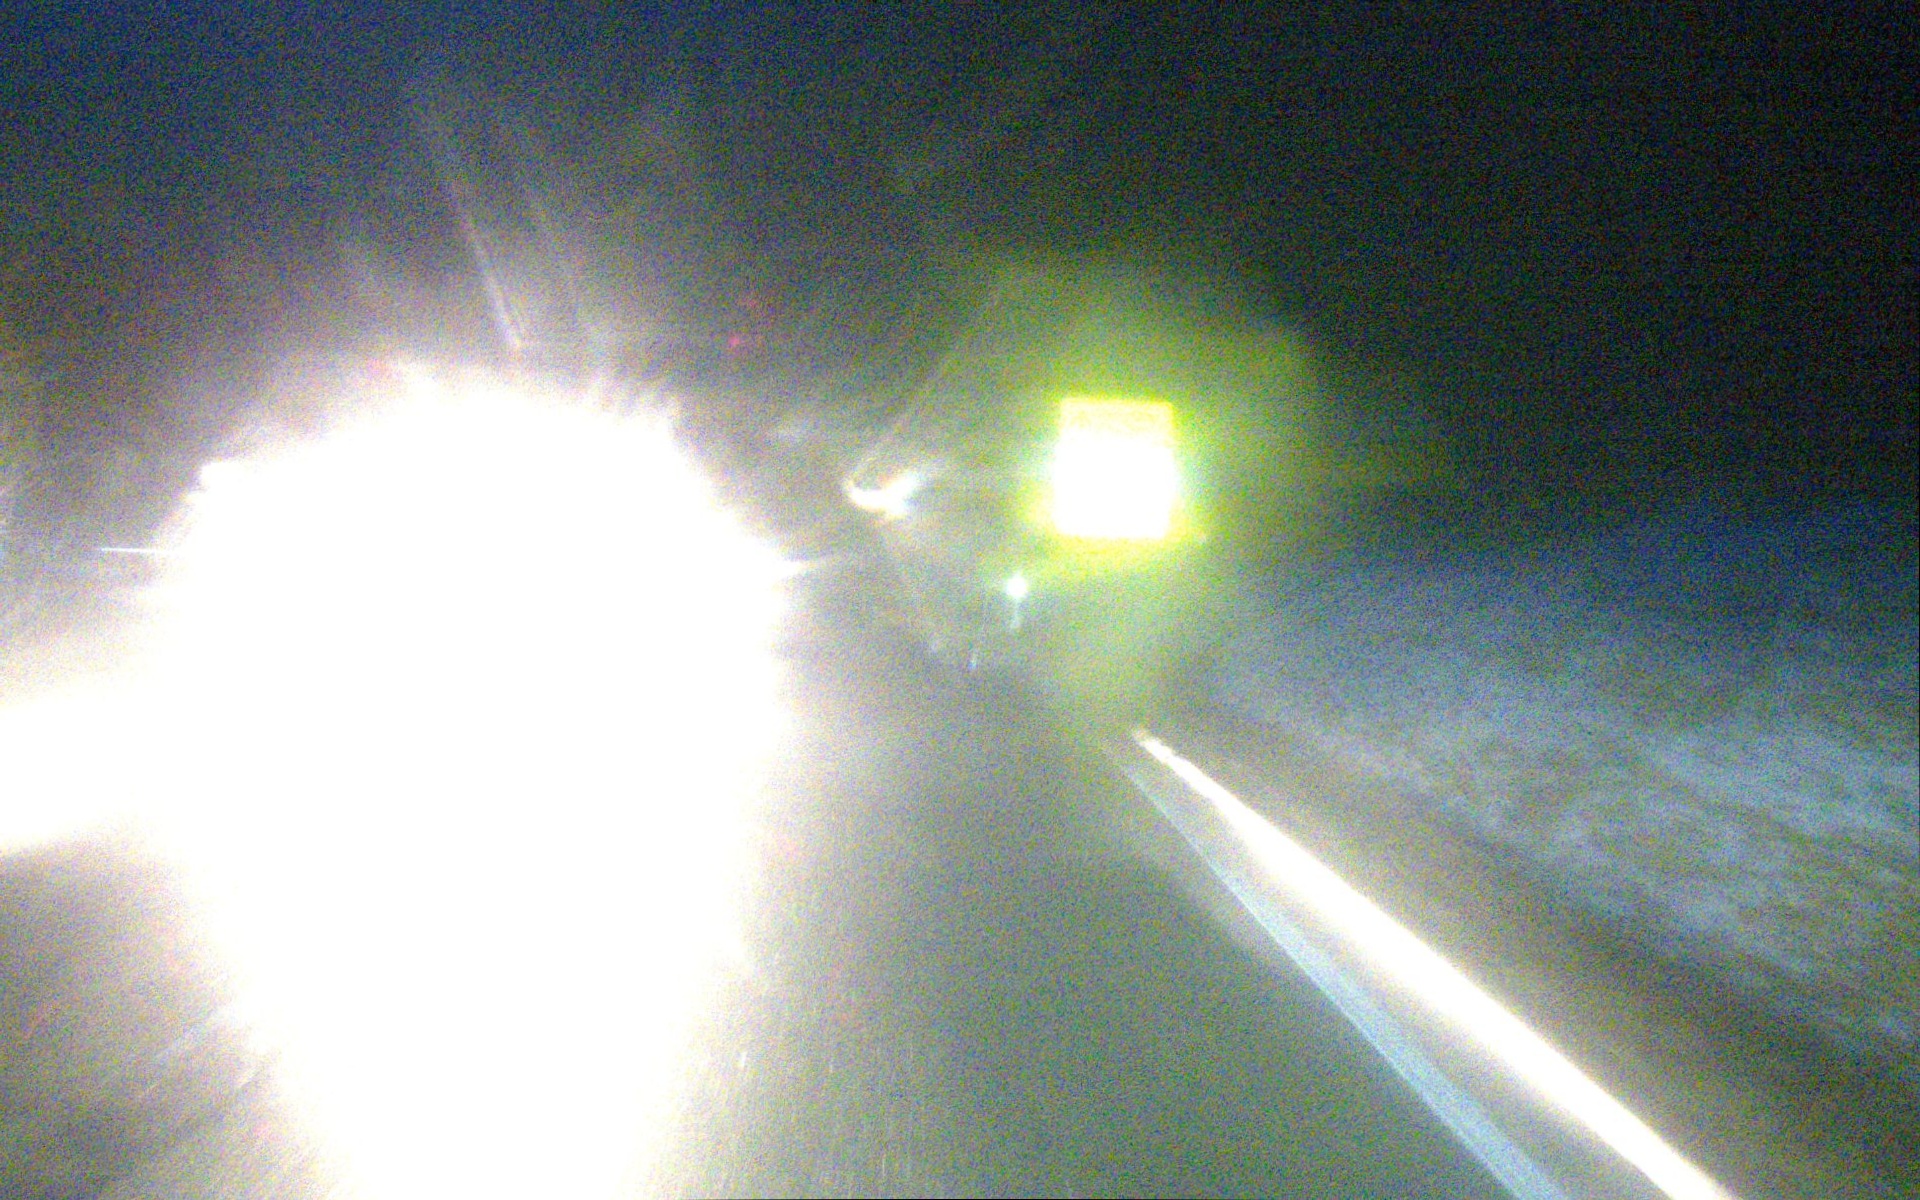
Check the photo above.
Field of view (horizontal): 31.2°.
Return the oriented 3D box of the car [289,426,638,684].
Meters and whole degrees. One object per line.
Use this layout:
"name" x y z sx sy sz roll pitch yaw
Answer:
"car" -4.805 -0.413 34.385 2.752 2.261 6.262 -2 0 -2
